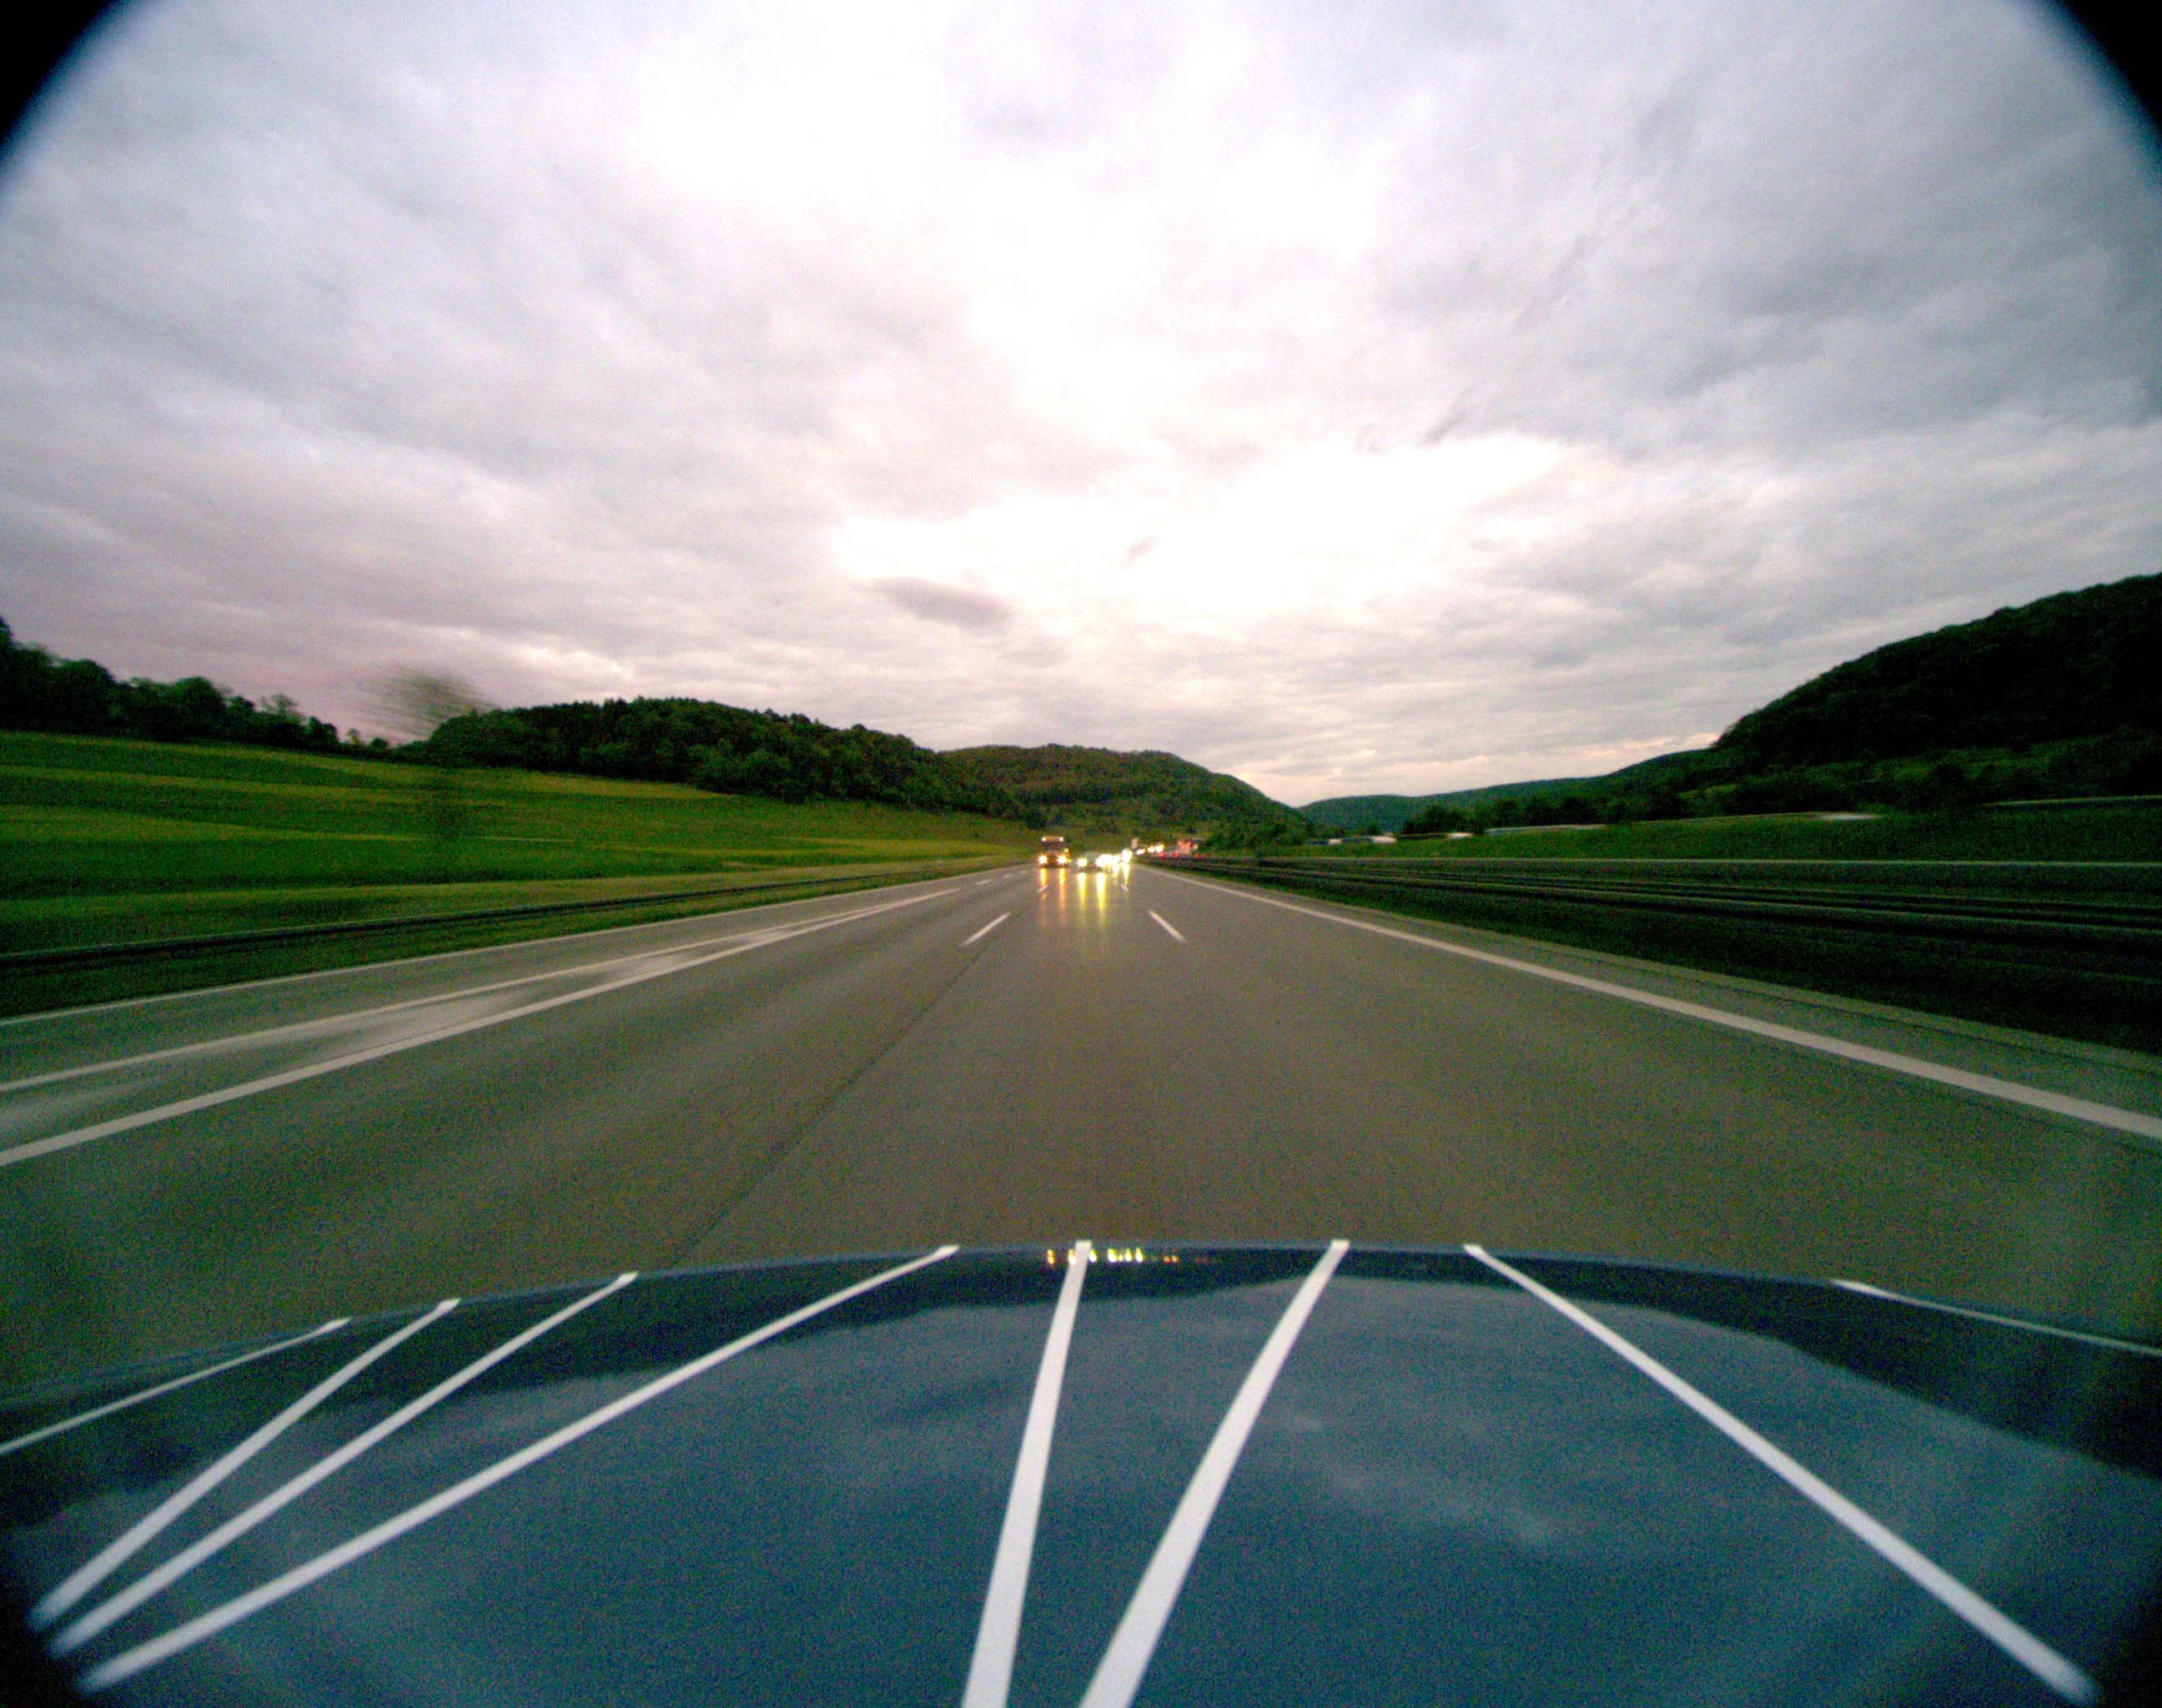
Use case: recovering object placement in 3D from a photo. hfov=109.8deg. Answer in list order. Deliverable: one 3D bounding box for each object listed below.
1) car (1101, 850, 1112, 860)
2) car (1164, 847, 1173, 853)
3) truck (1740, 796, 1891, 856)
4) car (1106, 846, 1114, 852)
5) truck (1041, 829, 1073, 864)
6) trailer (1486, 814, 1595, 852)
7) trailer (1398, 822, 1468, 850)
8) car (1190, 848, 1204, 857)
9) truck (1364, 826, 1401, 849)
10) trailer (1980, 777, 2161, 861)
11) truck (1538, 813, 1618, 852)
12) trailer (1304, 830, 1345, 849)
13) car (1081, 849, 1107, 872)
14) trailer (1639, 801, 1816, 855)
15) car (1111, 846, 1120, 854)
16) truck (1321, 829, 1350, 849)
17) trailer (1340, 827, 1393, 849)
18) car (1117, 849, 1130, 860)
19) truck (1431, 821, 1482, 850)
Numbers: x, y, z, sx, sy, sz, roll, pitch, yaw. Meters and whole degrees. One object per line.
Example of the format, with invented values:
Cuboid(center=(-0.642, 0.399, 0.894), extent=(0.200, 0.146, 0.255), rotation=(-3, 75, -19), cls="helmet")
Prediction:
Cuboid(center=(4.493, 0.193, 134.298), extent=(1.794, 1.492, 4.134), rotation=(-4, 0, 1), cls="car")
Cuboid(center=(21.657, -1.111, 189.171), extent=(1.855, 1.492, 4.133), rotation=(0, 1, 1), cls="car")
Cuboid(center=(41.249, -1.504, 42.963), extent=(2.874, 3.070, 5.892), rotation=(-2, 1, 1), cls="truck")
Cuboid(center=(7.596, -1.233, 200.197), extent=(1.932, 1.492, 4.133), rotation=(0, 1, 1), cls="car")
Cuboid(center=(-2.656, -0.901, 89.775), extent=(3.119, 3.850, 14.161), rotation=(0, 1, 1), cls="truck")
Cuboid(center=(41.682, -1.818, 69.585), extent=(2.874, 3.070, 11.813), rotation=(-2, 1, 1), cls="trailer")
Cuboid(center=(42.191, -2.083, 91.627), extent=(2.874, 3.070, 12.196), rotation=(-2, 1, 1), cls="trailer")
Cuboid(center=(19.493, -0.342, 128.106), extent=(1.855, 1.492, 4.133), rotation=(0, 1, 1), cls="car")
Cuboid(center=(42.489, -2.268, 107.124), extent=(2.874, 3.070, 5.841), rotation=(-2, 1, 1), cls="truck")
Cuboid(center=(41.189, -1.328, 27.383), extent=(2.874, 3.070, 12.484), rotation=(-2, 1, 1), cls="trailer")
Cuboid(center=(41.604, -1.751, 63.863), extent=(2.874, 3.070, 5.892), rotation=(-2, 1, 1), cls="truck")
Cuboid(center=(42.638, -2.569, 133.603), extent=(2.874, 3.070, 13.353), rotation=(-2, 1, 1), cls="trailer")
Cuboid(center=(1.007, 0.491, 61.291), extent=(1.927, 1.674, 4.806), rotation=(-2, 1, 0), cls="car")
Cuboid(center=(41.342, -1.578, 49.264), extent=(2.874, 3.070, 10.155), rotation=(-2, 1, 1), cls="trailer")
Cuboid(center=(7.587, -0.984, 168.169), extent=(1.894, 1.650, 5.639), rotation=(-3, 1, 1), cls="car")
Cuboid(center=(42.569, -2.494, 127.149), extent=(2.874, 3.070, 5.892), rotation=(-2, 1, 1), cls="truck")
Cuboid(center=(42.567, -2.346, 113.905), extent=(2.874, 3.070, 13.633), rotation=(-2, 1, 1), cls="trailer")
Cuboid(center=(6.379, 0.079, 114.273), extent=(1.794, 1.492, 5.037), rotation=(-4, 0, 1), cls="car")
Cuboid(center=(42.153, -2.014, 85.507), extent=(2.874, 3.070, 5.892), rotation=(-2, 1, 1), cls="truck")
